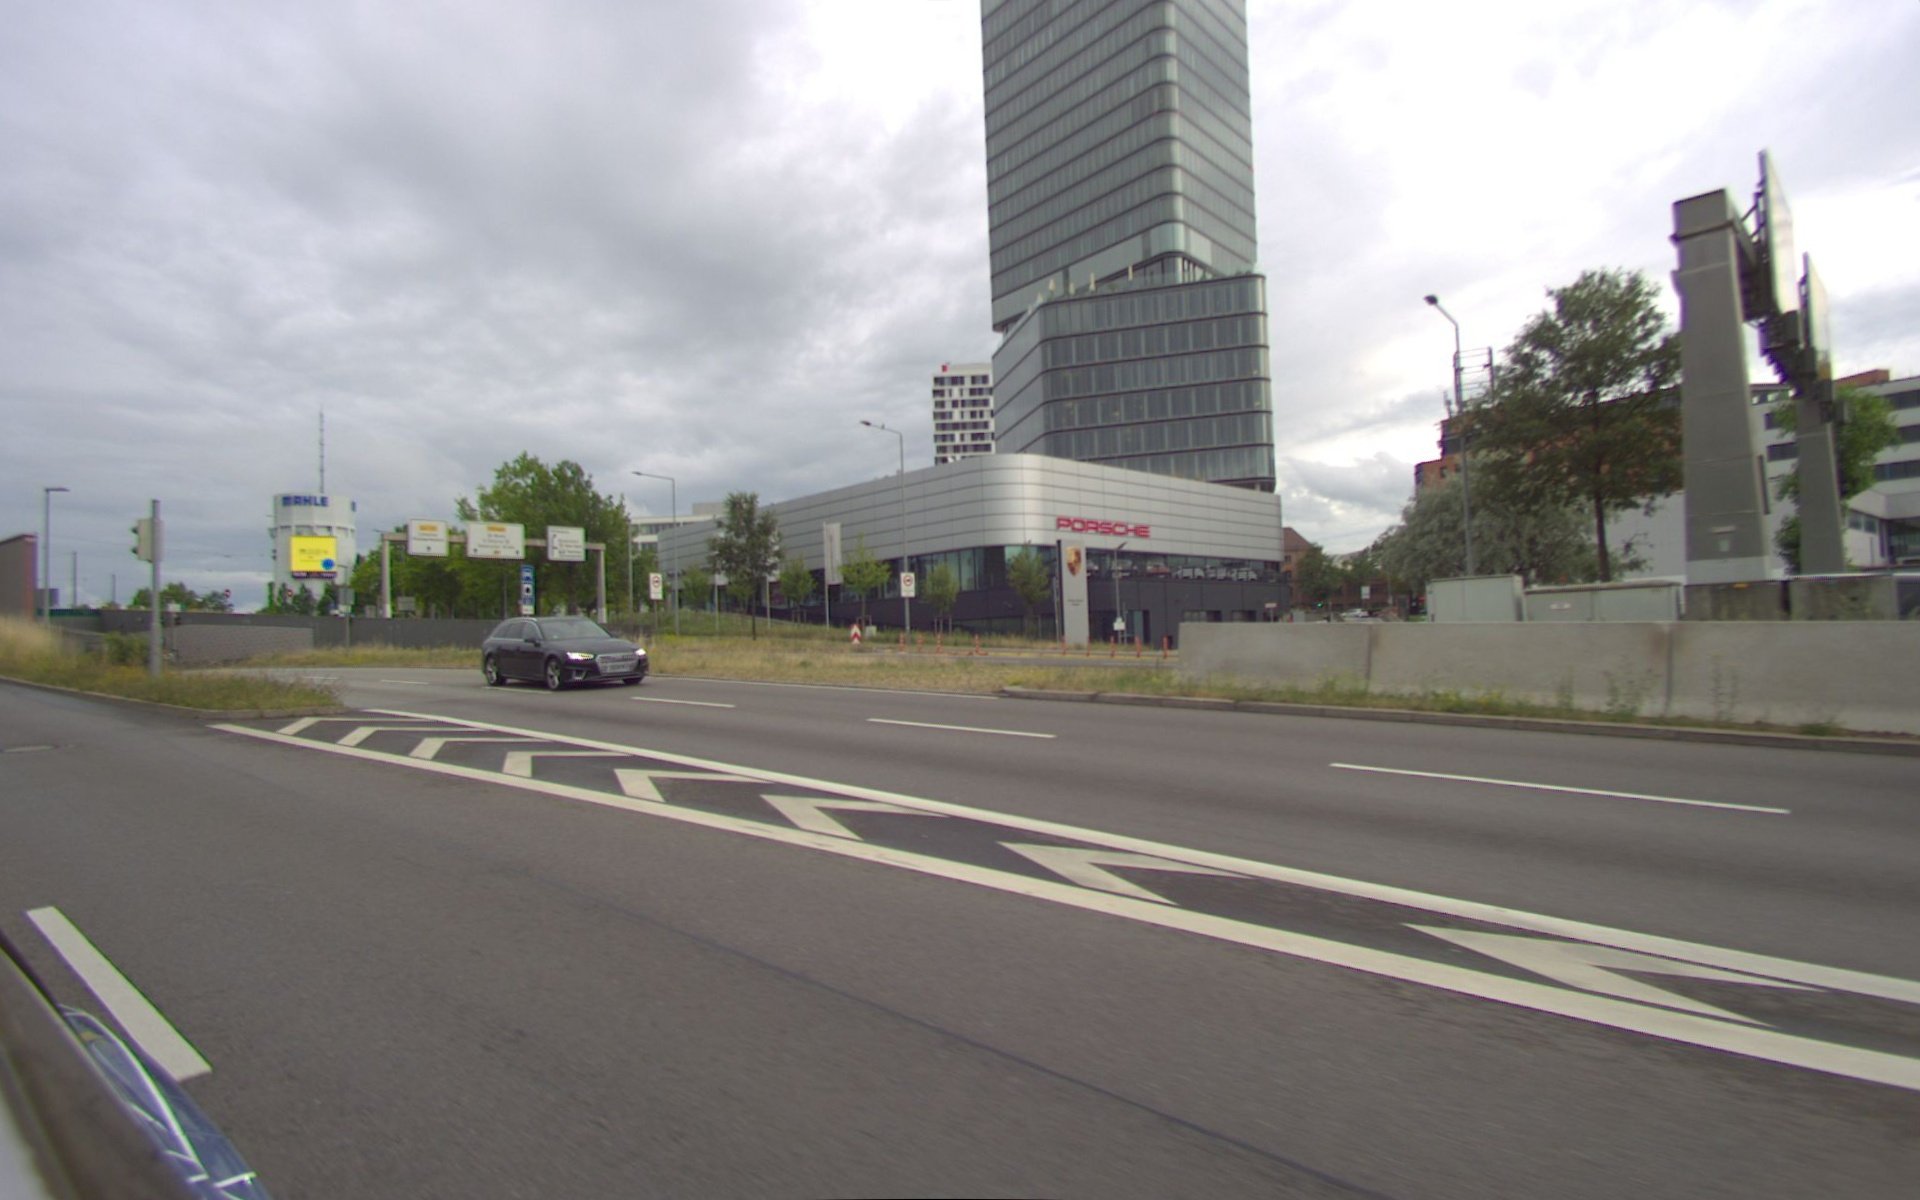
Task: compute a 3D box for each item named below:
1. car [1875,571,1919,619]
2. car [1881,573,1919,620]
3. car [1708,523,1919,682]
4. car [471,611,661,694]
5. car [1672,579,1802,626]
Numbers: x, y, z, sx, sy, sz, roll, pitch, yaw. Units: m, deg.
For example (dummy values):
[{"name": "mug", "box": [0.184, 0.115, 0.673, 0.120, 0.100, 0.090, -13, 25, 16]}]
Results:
[{"name": "car", "box": [41.043, -0.283, 41.051, 1.968, 1.896, 5.546, -3, 0, -39]}, {"name": "car", "box": [42.297, -0.249, 43.253, 1.968, 1.896, 4.007, -3, -2, -39]}, {"name": "car", "box": [10.400, -0.014, 10.863, 3.549, 1.602, 1.669, -5, -2, 43]}, {"name": "car", "box": [-8.130, 0.999, 20.645, 4.632, 1.430, 1.790, -1, 1, 44]}, {"name": "car", "box": [33.248, 0.113, 43.381, 1.893, 1.696, 4.007, -3, -2, -40]}]
